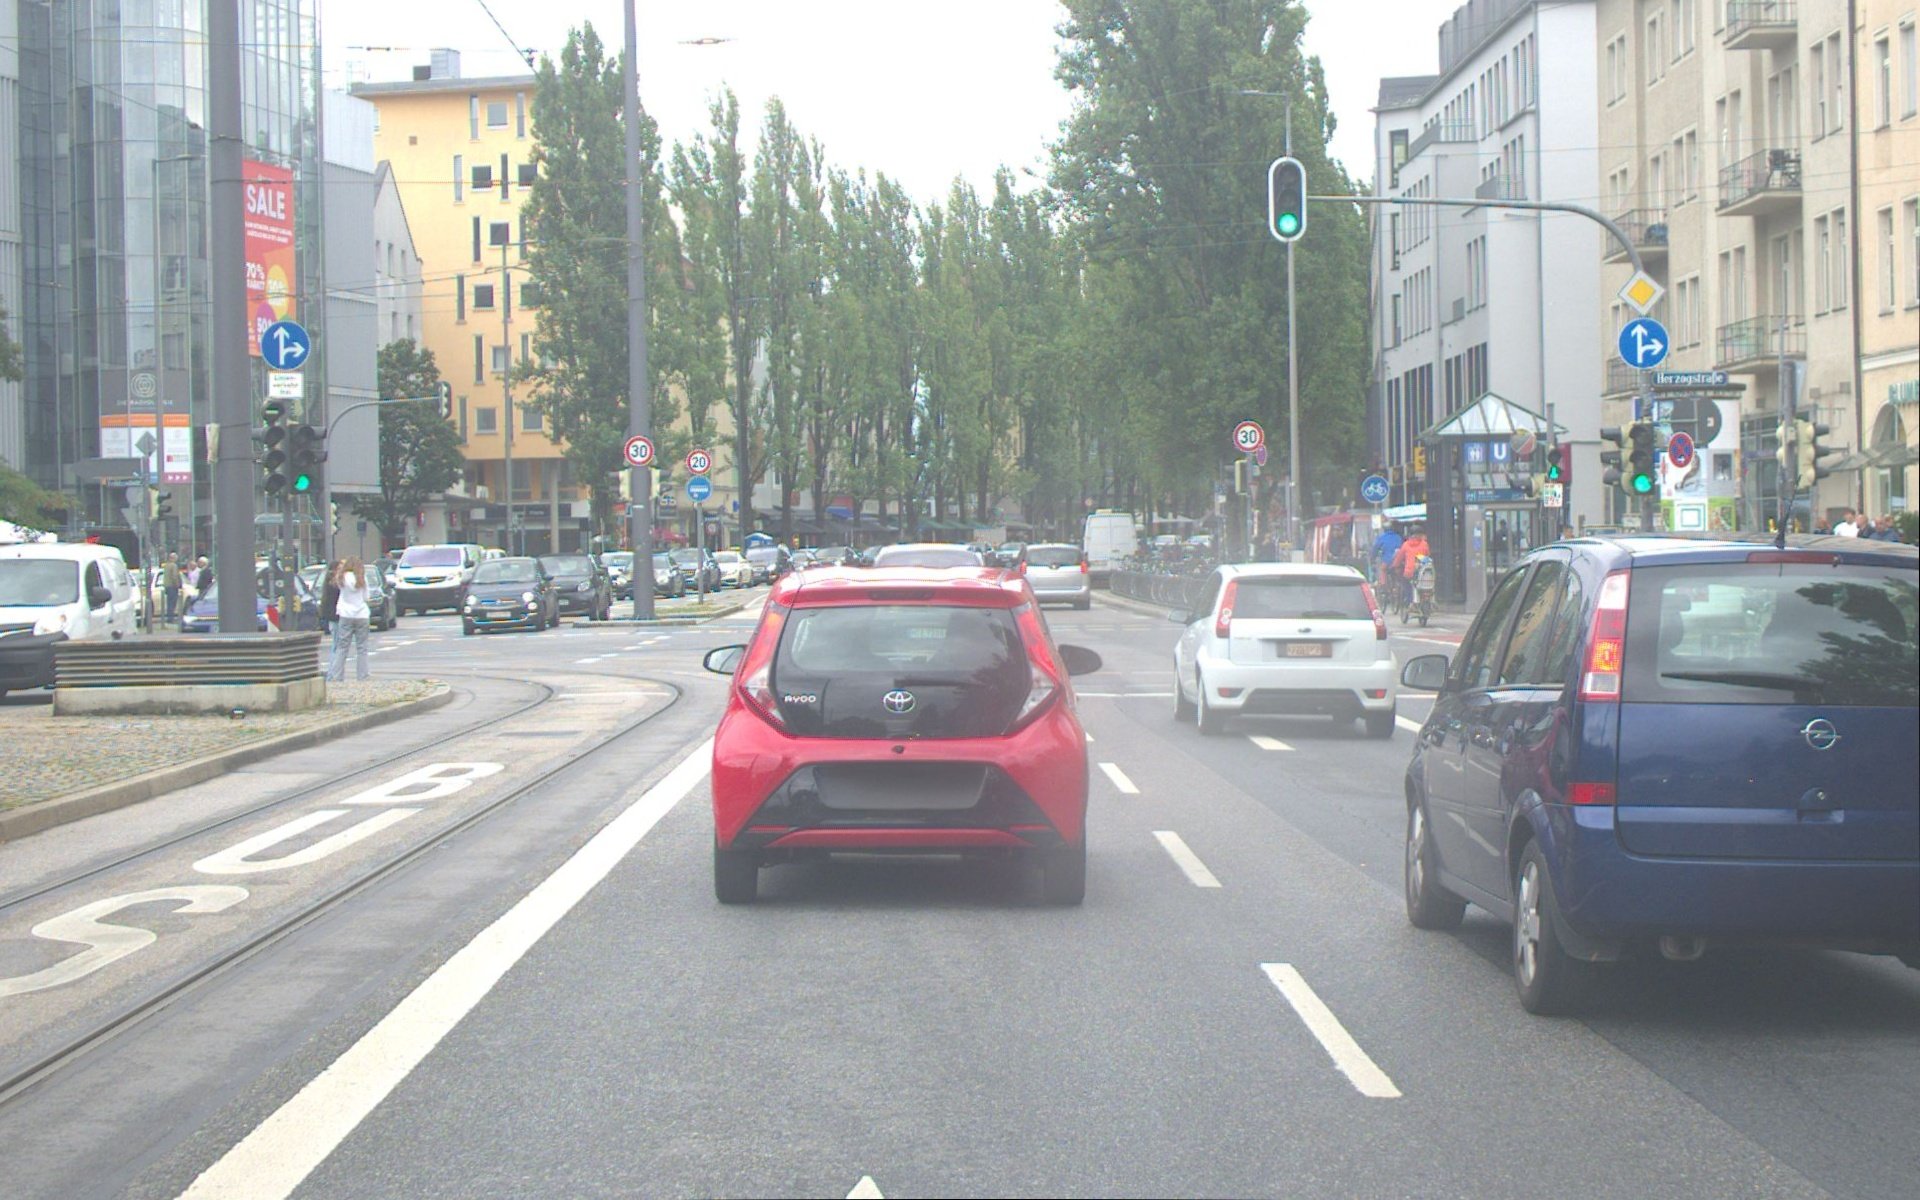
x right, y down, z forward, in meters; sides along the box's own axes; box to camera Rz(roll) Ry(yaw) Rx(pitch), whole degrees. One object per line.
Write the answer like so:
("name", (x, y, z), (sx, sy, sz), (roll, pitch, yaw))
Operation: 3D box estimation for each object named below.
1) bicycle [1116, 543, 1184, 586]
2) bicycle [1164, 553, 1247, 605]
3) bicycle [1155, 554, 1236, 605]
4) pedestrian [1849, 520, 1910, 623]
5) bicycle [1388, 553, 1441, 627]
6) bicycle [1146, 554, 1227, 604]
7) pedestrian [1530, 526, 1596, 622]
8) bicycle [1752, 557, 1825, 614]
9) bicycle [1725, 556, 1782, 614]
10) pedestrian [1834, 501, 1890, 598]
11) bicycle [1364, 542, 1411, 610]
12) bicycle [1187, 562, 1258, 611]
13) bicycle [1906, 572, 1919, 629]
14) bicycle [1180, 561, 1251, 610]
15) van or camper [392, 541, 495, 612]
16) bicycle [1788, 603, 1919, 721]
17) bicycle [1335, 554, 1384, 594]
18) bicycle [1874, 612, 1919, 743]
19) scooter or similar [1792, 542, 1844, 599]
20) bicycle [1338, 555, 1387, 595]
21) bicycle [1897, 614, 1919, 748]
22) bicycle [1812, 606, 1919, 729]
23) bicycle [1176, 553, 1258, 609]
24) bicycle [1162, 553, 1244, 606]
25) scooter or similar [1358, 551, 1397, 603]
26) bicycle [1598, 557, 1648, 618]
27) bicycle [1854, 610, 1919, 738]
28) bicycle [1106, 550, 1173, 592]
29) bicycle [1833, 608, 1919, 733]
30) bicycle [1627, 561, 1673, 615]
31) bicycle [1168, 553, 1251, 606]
("bicycle", (5.091, -0.941, 92.065), (1.836, 1.132, 0.585), (0, 2, 43))
("bicycle", (5.527, -0.470, 77.558), (1.801, 1.154, 0.486), (0, 1, 26))
("bicycle", (5.397, -0.474, 78.875), (1.802, 1.154, 0.486), (0, 1, 30))
("pedestrian", (15.806, -0.497, 59.101), (0.934, 1.749, 1.064), (-1, 1, 13))
("bicycle", (8.127, -0.195, 61.519), (0.614, 1.260, 2.520), (-1, 1, 1))
("bicycle", (5.284, -0.489, 80.253), (1.803, 1.154, 0.651), (0, 1, 36))
("pedestrian", (10.725, -0.461, 61.145), (0.836, 1.685, 0.818), (0, 1, 37))
("bicycle", (15.691, -0.278, 65.144), (0.494, 1.055, 1.867), (-1, 1, -15))
("bicycle", (14.979, -0.284, 64.895), (0.494, 1.055, 1.867), (-1, 1, -5))
("pedestrian", (16.299, -0.921, 62.137), (0.644, 1.699, 0.733), (-4, 5, -29))
("bicycle", (8.335, -0.482, 67.091), (0.614, 1.260, 2.520), (-1, 1, 1))
("bicycle", (5.581, -0.295, 73.159), (0.498, 1.025, 1.601), (-2, 2, -42))
("bicycle", (18.687, 0.020, 65.749), (0.494, 1.085, 1.867), (-1, 1, -6))
("bicycle", (5.502, -0.314, 74.014), (0.498, 1.025, 1.601), (-2, 2, -42))
("van or camper", (-13.787, -0.663, 92.096), (1.928, 1.819, 5.441), (-1, 1, 0))
("bicycle", (7.964, 0.525, 29.302), (0.347, 0.992, 1.841), (-2, 1, -44))
("bicycle", (10.041, -0.651, 86.437), (1.181, 0.960, 0.369), (-1, 1, -1))
("bicycle", (7.867, 0.581, 25.999), (1.840, 0.992, 0.347), (-1, 1, 40))
("scooter or similar", (15.369, -0.527, 61.562), (0.821, 0.991, 0.593), (0, 4, 22))
("bicycle", (10.048, -0.623, 85.894), (1.181, 0.960, 0.369), (-1, 1, 4))
("bicycle", (7.859, 0.593, 25.326), (1.840, 0.992, 0.347), (-1, 1, 40))
("bicycle", (7.871, 0.546, 28.017), (1.840, 0.992, 0.347), (-1, 1, 43))
("bicycle", (5.579, -0.407, 74.673), (1.803, 1.194, 0.558), (0, 2, 44))
("bicycle", (5.425, -0.458, 76.749), (1.803, 1.154, 0.547), (0, 1, 38))
("scooter or similar", (9.532, -0.529, 78.440), (0.364, 1.172, 1.345), (-1, 1, 30))
("bicycle", (12.532, -0.241, 64.991), (0.566, 1.104, 1.866), (-1, 1, 0))
("bicycle", (7.884, 0.570, 26.664), (1.840, 0.992, 0.347), (-1, 1, 40))
("bicycle", (4.998, -0.807, 95.757), (1.836, 1.132, 0.585), (0, 1, 36))
("bicycle", (7.875, 0.558, 27.351), (1.840, 0.992, 0.347), (-1, 1, 43))
("bicycle", (13.033, -0.231, 64.970), (0.494, 0.971, 1.866), (-1, 1, 0))
("bicycle", (5.517, -0.444, 76.066), (1.803, 1.154, 0.547), (0, 1, 38))
